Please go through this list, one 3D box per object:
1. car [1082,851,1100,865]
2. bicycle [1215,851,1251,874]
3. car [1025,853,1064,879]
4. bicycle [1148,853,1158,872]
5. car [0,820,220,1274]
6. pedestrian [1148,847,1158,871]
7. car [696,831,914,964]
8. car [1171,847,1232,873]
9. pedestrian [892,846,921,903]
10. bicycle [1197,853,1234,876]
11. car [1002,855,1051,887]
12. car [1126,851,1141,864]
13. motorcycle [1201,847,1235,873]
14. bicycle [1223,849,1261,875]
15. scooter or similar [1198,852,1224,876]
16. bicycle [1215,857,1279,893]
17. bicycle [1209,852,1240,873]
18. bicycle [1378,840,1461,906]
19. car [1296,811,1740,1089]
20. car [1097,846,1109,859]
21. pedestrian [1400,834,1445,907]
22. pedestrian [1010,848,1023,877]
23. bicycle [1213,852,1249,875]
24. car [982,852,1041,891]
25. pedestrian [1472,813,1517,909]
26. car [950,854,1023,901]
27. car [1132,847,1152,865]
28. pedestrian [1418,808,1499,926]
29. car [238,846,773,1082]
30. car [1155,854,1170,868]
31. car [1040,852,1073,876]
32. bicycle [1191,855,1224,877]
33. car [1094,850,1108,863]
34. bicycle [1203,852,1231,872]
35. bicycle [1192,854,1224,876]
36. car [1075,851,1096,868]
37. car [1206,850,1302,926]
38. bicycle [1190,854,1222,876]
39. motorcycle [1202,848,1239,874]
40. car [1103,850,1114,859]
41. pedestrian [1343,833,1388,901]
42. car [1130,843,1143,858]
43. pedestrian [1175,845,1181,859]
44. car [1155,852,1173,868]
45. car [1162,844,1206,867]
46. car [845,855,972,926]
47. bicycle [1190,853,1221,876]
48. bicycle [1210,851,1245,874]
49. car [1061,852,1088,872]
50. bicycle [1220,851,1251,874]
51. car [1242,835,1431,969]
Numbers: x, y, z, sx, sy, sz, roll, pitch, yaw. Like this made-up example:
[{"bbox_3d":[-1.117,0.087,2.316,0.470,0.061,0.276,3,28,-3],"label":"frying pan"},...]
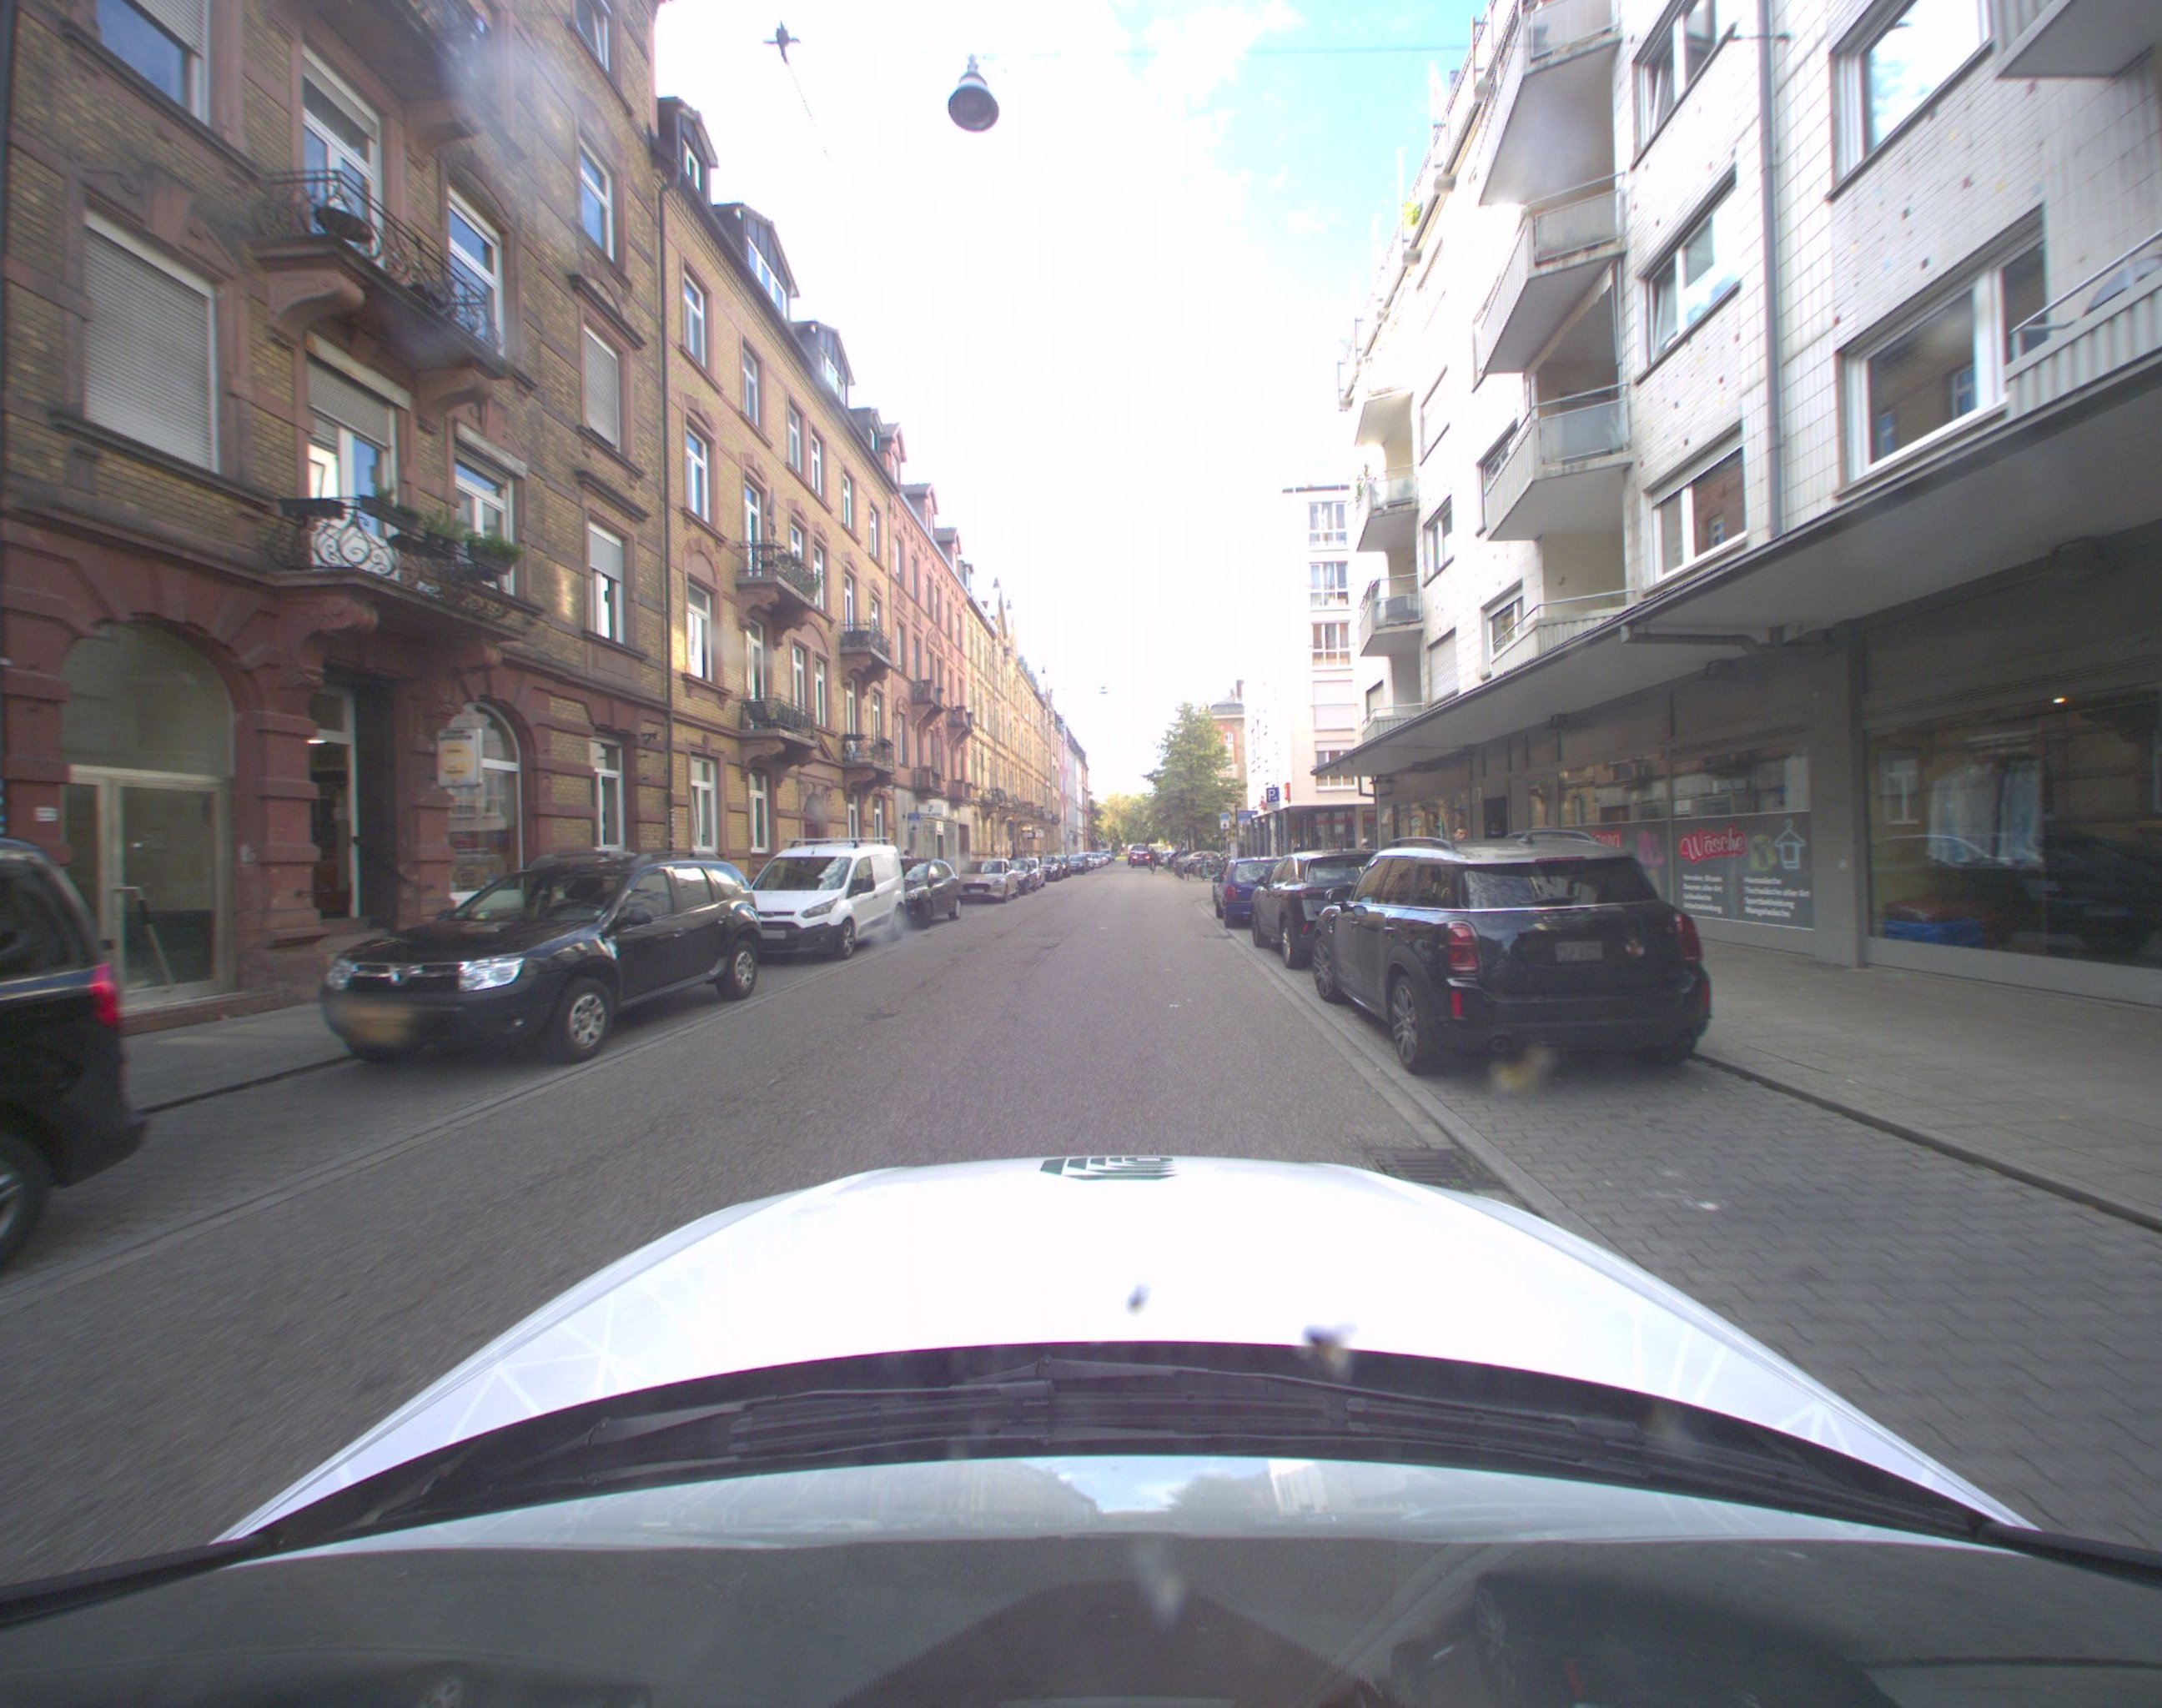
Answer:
[{"bbox_3d":[1.127,0.417,87.095,1.683,1.550,3.871,0,0,4],"label":"car"},{"bbox_3d":[8.077,0.455,43.305,1.761,1.146,0.411,-3,0,-2],"label":"bicycle"},{"bbox_3d":[-2.033,0.630,46.429,1.682,1.386,3.873,0,0,5],"label":"car"},{"bbox_3d":[4.990,0.592,56.346,0.714,1.274,1.887,0,0,5],"label":"bicycle"},{"bbox_3d":[-5.154,0.748,1.756,1.753,1.773,4.409,1,0,3],"label":"car"},{"bbox_3d":[5.003,0.306,56.466,0.714,1.650,0.931,0,0,5],"label":"pedestrian"},{"bbox_3d":[-4.362,0.601,13.713,1.911,1.871,4.441,0,0,3],"label":"car"},{"bbox_3d":[8.206,0.433,55.544,3.756,1.546,1.727,-3,-1,-6],"label":"car"},{"bbox_3d":[-5.654,0.653,26.375,0.729,1.790,0.771,2,0,-3],"label":"pedestrian"},{"bbox_3d":[6.829,0.543,41.416,1.760,1.057,0.411,-3,0,-1],"label":"bicycle"},{"bbox_3d":[-2.445,0.736,37.573,1.682,1.386,3.873,0,0,5],"label":"car"},{"bbox_3d":[6.273,0.372,97.550,1.789,1.472,3.891,0,0,3],"label":"car"},{"bbox_3d":[8.952,0.395,53.217,2.138,1.530,0.688,-3,0,8],"label":"motorcycle"},{"bbox_3d":[8.065,0.407,40.929,1.756,1.162,0.651,-3,0,6],"label":"bicycle"},{"bbox_3d":[6.518,0.507,40.821,1.193,1.147,0.381,-4,1,36],"label":"scooter or similar"},{"bbox_3d":[5.250,0.673,25.817,0.694,1.095,1.939,2,-3,-43],"label":"bicycle"},{"bbox_3d":[8.490,0.501,48.307,1.723,1.159,0.501,-3,0,5],"label":"bicycle"},{"bbox_3d":[7.393,0.388,17.941,0.914,1.291,2.502,-3,0,5],"label":"bicycle"},{"bbox_3d":[3.091,0.564,6.775,1.784,1.605,3.929,-2,0,4],"label":"car"},{"bbox_3d":[3.201,-0.227,118.217,1.683,1.821,3.871,0,0,4],"label":"car"},{"bbox_3d":[7.648,0.362,18.262,0.640,1.588,0.782,-3,0,6],"label":"pedestrian"},{"bbox_3d":[-4.127,0.548,51.902,0.685,1.853,0.933,0,0,6],"label":"pedestrian"},{"bbox_3d":[7.717,0.494,42.002,1.756,1.087,0.651,-3,0,6],"label":"bicycle"},{"bbox_3d":[-2.773,0.675,33.184,1.733,1.483,3.989,0,0,5],"label":"car"},{"bbox_3d":[8.262,0.135,16.263,0.700,1.860,0.649,-1,0,33],"label":"pedestrian"},{"bbox_3d":[-3.189,0.760,28.329,1.733,1.483,3.989,0,0,5],"label":"car"},{"bbox_3d":[6.119,0.228,81.343,1.956,1.741,4.046,0,-1,4],"label":"car"},{"bbox_3d":[5.825,0.188,12.636,0.610,1.726,1.126,-4,0,-1],"label":"pedestrian"},{"bbox_3d":[-4.799,0.753,7.739,1.985,1.638,4.148,0,0,3],"label":"car"},{"bbox_3d":[9.289,0.830,93.066,1.682,1.550,3.693,0,0,5],"label":"car"},{"bbox_3d":[-1.547,0.605,52.418,1.682,1.437,3.873,0,0,5],"label":"car"},{"bbox_3d":[7.052,0.647,45.313,1.756,1.099,0.412,-3,0,7],"label":"bicycle"},{"bbox_3d":[2.528,0.302,102.136,1.683,1.550,3.871,0,0,4],"label":"car"},{"bbox_3d":[8.614,0.492,51.549,1.656,1.159,0.558,-3,0,5],"label":"bicycle"},{"bbox_3d":[7.169,0.641,46.053,1.756,1.118,0.412,-3,0,7],"label":"bicycle"},{"bbox_3d":[0.460,0.506,75.023,1.683,1.550,3.871,0,0,3],"label":"car"},{"bbox_3d":[3.683,0.655,17.943,1.588,1.439,4.036,-2,0,5],"label":"car"},{"bbox_3d":[7.211,0.634,46.987,1.785,1.159,0.501,-3,0,7],"label":"bicycle"},{"bbox_3d":[8.580,0.417,50.202,2.138,1.434,0.767,-3,0,8],"label":"motorcycle"},{"bbox_3d":[4.545,0.062,133.590,1.683,1.550,3.871,0,0,4],"label":"car"},{"bbox_3d":[6.920,0.314,19.847,0.820,1.588,0.782,-2,0,6],"label":"pedestrian"},{"bbox_3d":[7.507,-0.472,110.449,1.774,2.020,3.891,0,0,3],"label":"car"},{"bbox_3d":[15.622,-0.363,131.053,0.991,2.230,0.900,0,0,5],"label":"pedestrian"},{"bbox_3d":[9.032,0.601,88.584,1.921,1.638,4.005,0,0,5],"label":"car"},{"bbox_3d":[9.719,0.160,76.718,3.964,1.683,1.742,-3,8,8],"label":"car"},{"bbox_3d":[-3.866,0.763,18.967,1.733,1.483,3.990,0,0,6],"label":"car"},{"bbox_3d":[6.523,0.545,42.806,1.491,1.146,0.411,-3,0,-1],"label":"bicycle"},{"bbox_3d":[7.893,0.465,43.822,1.769,1.146,0.409,-4,0,-16],"label":"bicycle"},{"bbox_3d":[-0.456,0.593,62.675,1.682,1.369,3.873,2,1,5],"label":"car"},{"bbox_3d":[8.115,0.453,42.762,1.488,1.146,0.412,-3,0,4],"label":"bicycle"},{"bbox_3d":[3.507,0.591,11.914,1.681,1.577,3.905,-2,0,3],"label":"car"}]
